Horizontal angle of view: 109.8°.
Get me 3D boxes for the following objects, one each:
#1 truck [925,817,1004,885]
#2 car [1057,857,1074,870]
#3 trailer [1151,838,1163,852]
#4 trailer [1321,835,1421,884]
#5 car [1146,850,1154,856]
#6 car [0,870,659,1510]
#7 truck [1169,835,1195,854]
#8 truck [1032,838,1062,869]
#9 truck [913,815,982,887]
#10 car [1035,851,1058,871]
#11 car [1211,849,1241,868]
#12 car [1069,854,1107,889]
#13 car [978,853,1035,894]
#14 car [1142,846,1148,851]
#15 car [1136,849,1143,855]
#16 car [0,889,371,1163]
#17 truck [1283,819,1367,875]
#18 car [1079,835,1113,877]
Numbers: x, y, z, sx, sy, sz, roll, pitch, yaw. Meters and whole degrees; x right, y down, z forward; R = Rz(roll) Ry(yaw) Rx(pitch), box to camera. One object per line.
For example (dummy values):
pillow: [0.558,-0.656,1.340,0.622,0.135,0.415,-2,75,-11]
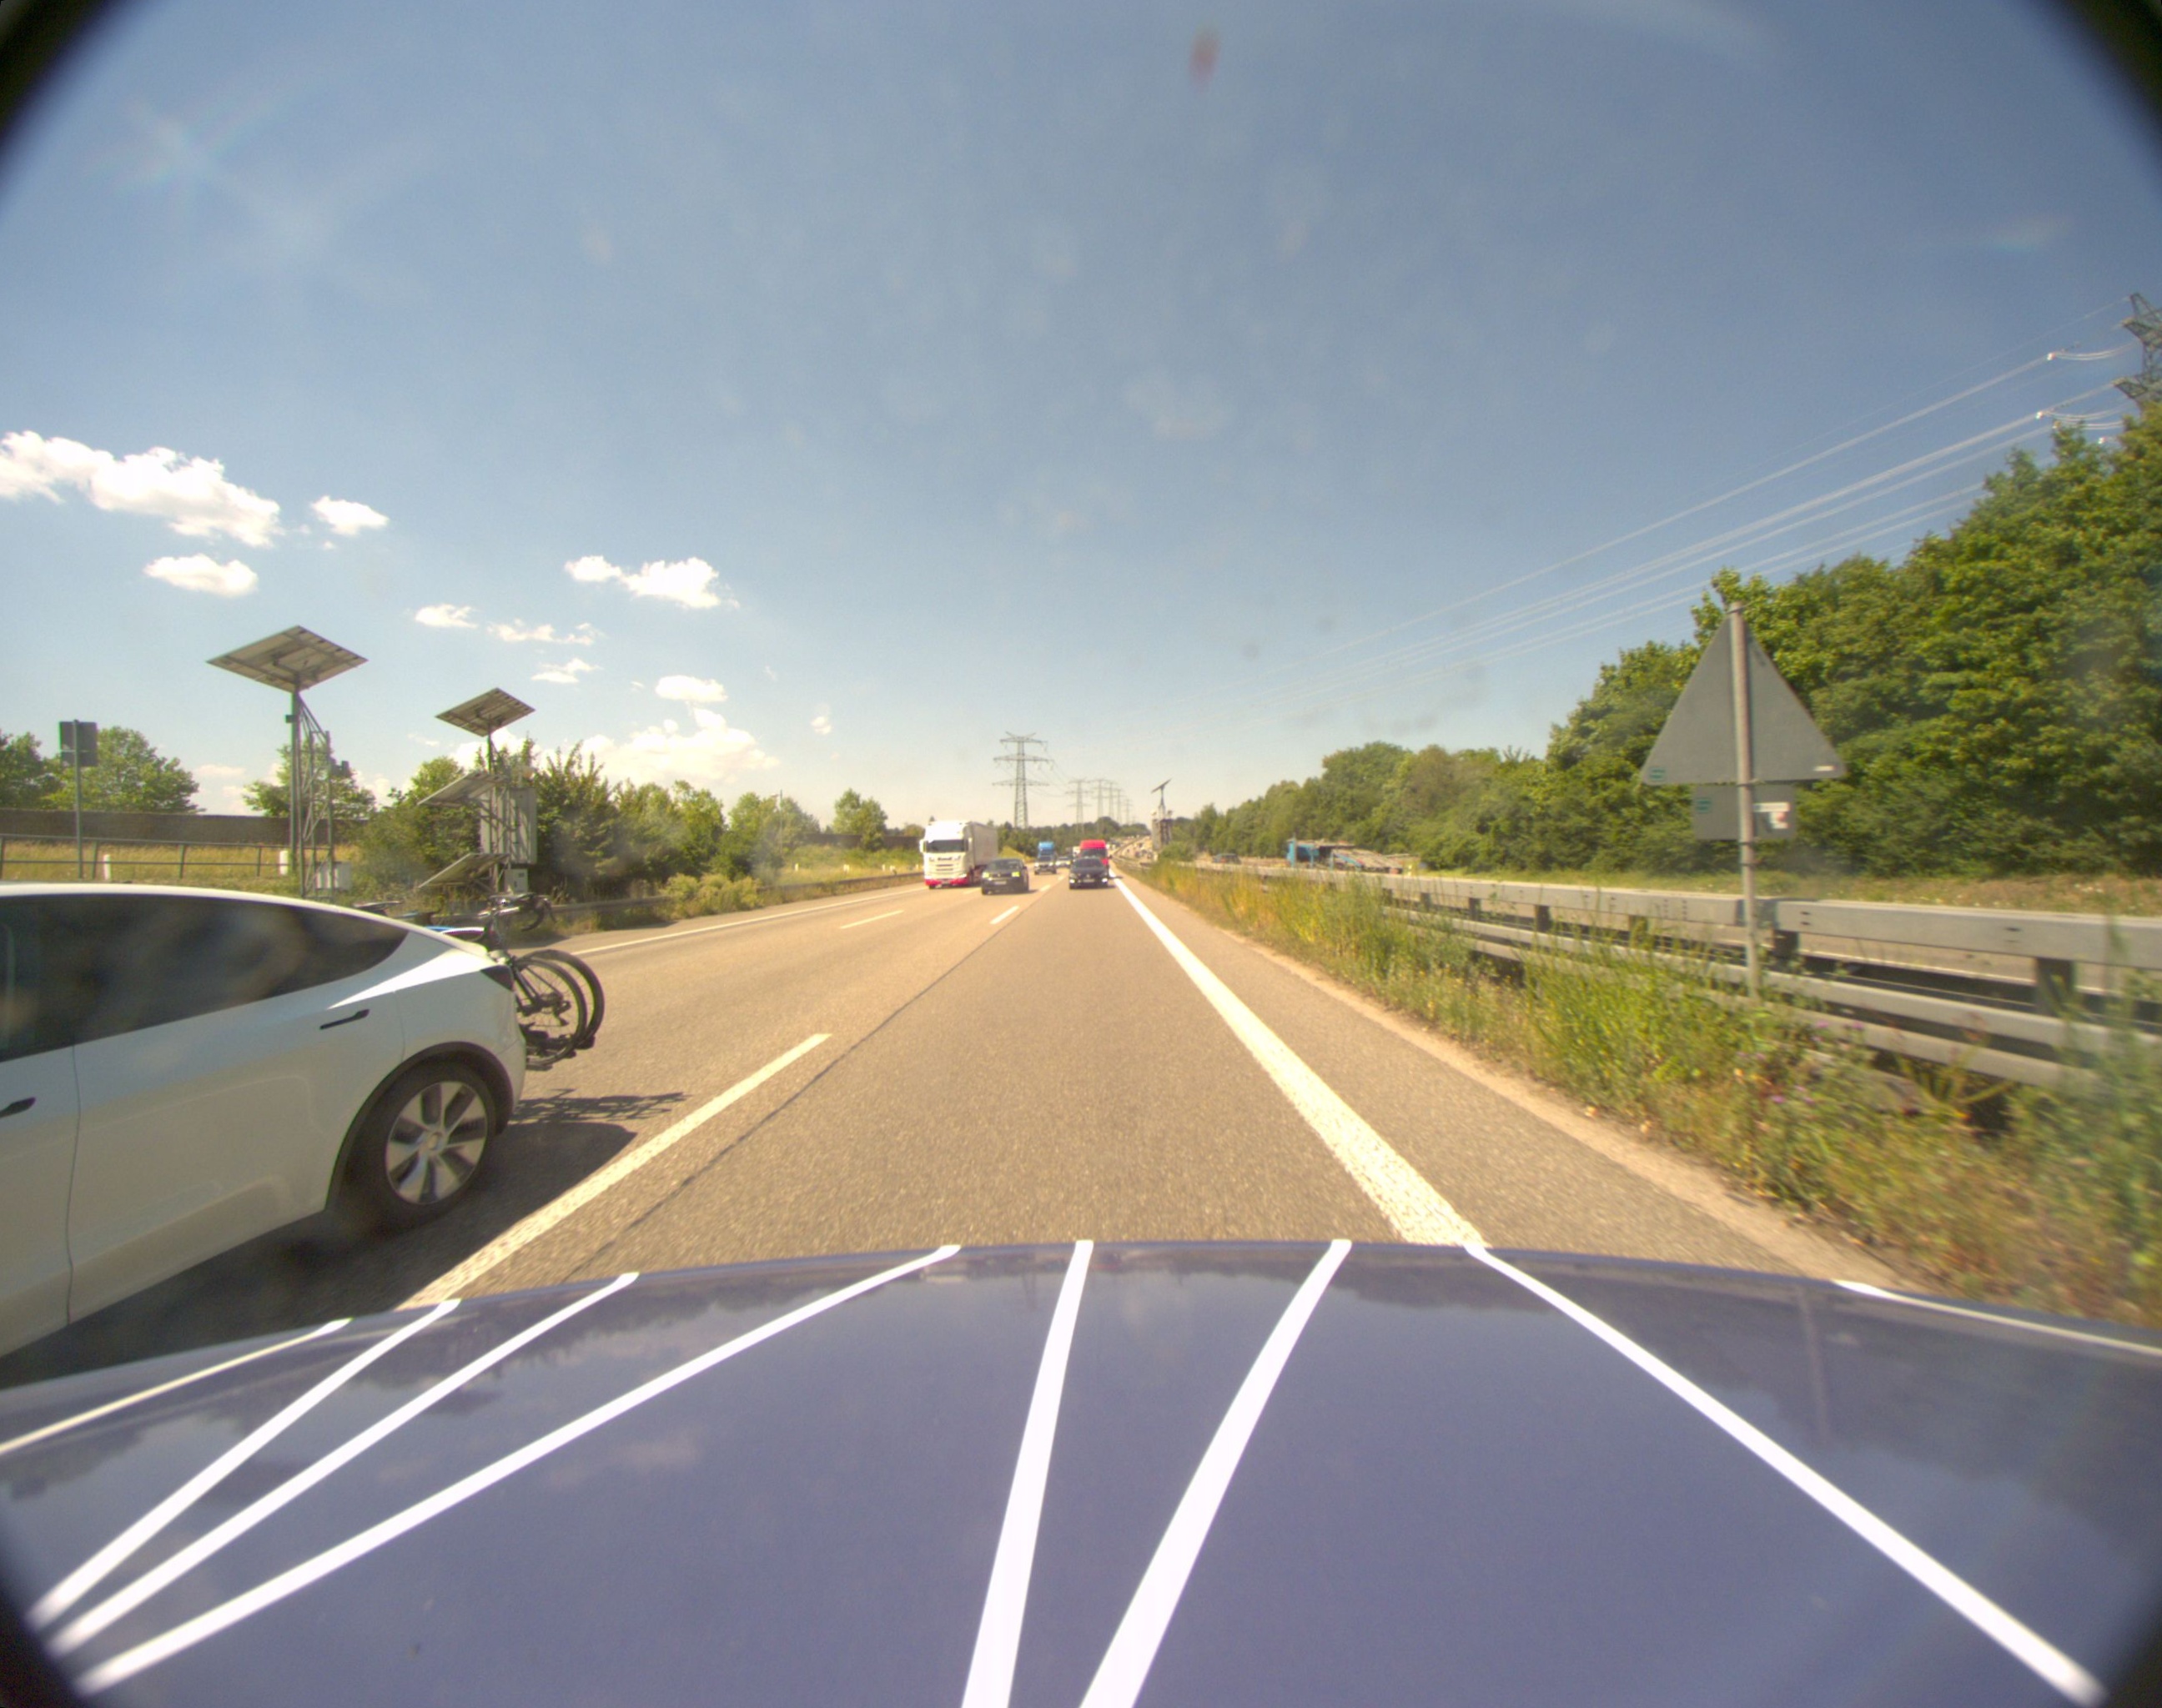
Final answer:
truck: [-7.570,-0.229,51.441,3.076,3.885,12.503,-2,0,1]
car: [-1.990,1.160,97.808,1.878,1.591,3.688,0,1,2]
trailer: [23.939,-2.856,239.532,3.182,4.316,13.814,-1,1,3]
trailer: [17.896,0.268,47.576,3.153,2.624,8.531,-2,1,2]
car: [18.134,-0.286,199.018,1.774,1.326,4.921,-1,0,1]
car: [-3.916,0.991,2.389,1.955,1.627,5.599,-3,1,0]
truck: [25.759,-2.411,195.110,3.005,4.314,14.541,-1,-2,-7]
truck: [-5.820,-0.123,131.824,3.797,4.971,14.924,-2,1,2]
truck: [-7.696,-0.176,44.199,3.076,3.885,3.847,-2,1,1]
car: [-3.074,0.596,68.852,1.749,1.691,4.088,0,1,2]
car: [12.618,0.364,66.366,1.728,1.647,4.860,1,0,0]
car: [0.382,0.789,36.548,1.735,1.535,3.750,0,1,2]
car: [-3.320,0.836,34.557,1.955,1.636,4.047,-3,1,2]
car: [21.084,-1.778,249.808,1.786,1.522,3.883,2,1,1]
car: [14.725,-0.546,191.456,1.728,1.517,4.000,0,0,1]
car: [-7.912,1.214,5.085,1.873,1.627,4.585,-3,1,1]
truck: [18.121,-0.494,57.285,3.003,3.780,10.788,-1,1,1]
car: [1.005,0.125,49.575,2.100,2.598,4.496,0,1,2]
